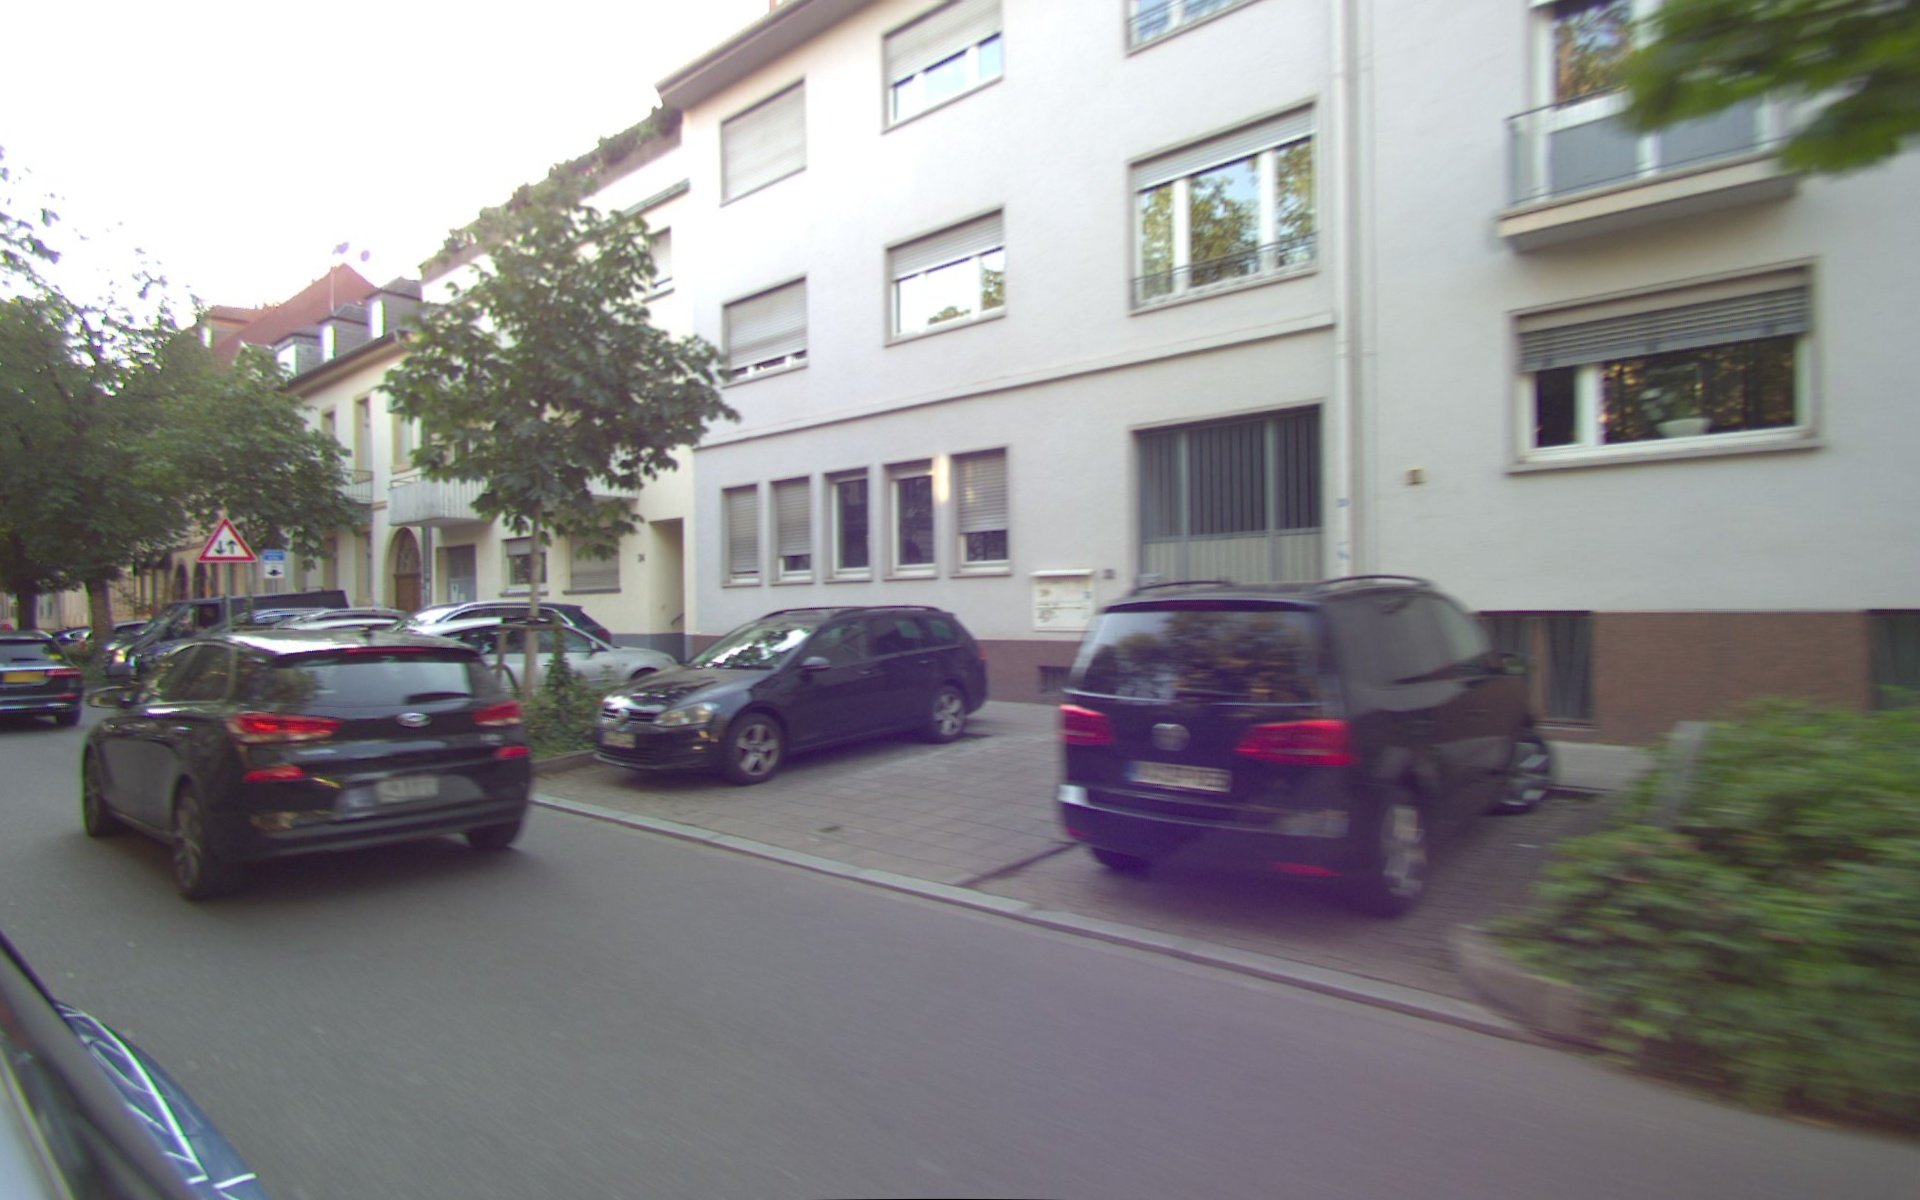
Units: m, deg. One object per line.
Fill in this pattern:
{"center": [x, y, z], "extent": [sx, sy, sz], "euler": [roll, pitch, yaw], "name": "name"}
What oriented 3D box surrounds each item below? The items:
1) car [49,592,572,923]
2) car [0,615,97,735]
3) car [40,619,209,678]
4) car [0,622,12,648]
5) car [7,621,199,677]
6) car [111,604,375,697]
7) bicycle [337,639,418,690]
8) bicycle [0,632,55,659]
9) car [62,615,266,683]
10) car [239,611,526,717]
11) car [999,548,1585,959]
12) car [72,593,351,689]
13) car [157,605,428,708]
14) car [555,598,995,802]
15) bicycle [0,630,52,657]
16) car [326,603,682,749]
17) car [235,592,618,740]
{"center": [-4.601, 0.809, 6.903], "extent": [4.272, 1.561, 1.857], "euler": [-2, -2, 41], "name": "car"}
{"center": [-14.950, 1.087, 15.510], "extent": [4.642, 1.653, 1.858], "euler": [-2, -2, 40], "name": "car"}
{"center": [-25.002, 1.406, 30.376], "extent": [1.658, 1.460, 3.647], "euler": [-2, 1, 40], "name": "car"}
{"center": [-56.105, 2.097, 57.209], "extent": [1.671, 1.416, 3.455], "euler": [-2, 1, 38], "name": "car"}
{"center": [-27.095, 1.482, 32.131], "extent": [1.715, 1.417, 4.384], "euler": [0, 2, 37], "name": "car"}
{"center": [-15.486, 1.010, 22.050], "extent": [1.929, 1.584, 4.310], "euler": [-1, 2, 40], "name": "car"}
{"center": [-11.013, 1.192, 19.121], "extent": [1.812, 0.880, 0.739], "euler": [-2, 0, 40], "name": "bicycle"}
{"center": [-43.097, 2.092, 46.761], "extent": [0.508, 1.107, 1.848], "euler": [-1, 1, 34], "name": "bicycle"}
{"center": [-22.792, 1.347, 29.109], "extent": [1.771, 1.550, 4.310], "euler": [0, 2, 40], "name": "car"}
{"center": [-9.675, 1.000, 17.161], "extent": [1.853, 1.462, 3.806], "euler": [-3, -1, 40], "name": "car"}
{"center": [2.290, 0.607, 6.224], "extent": [1.935, 1.644, 4.050], "euler": [-3, -1, 42], "name": "car"}
{"center": [-17.511, 0.879, 23.887], "extent": [2.188, 2.006, 4.940], "euler": [-2, -1, 40], "name": "car"}
{"center": [-13.167, 1.024, 20.158], "extent": [1.822, 1.603, 4.113], "euler": [-1, 2, 40], "name": "car"}
{"center": [-1.633, 0.799, 10.015], "extent": [1.754, 1.451, 4.032], "euler": [-2, 1, 42], "name": "car"}
{"center": [-42.693, 1.988, 46.142], "extent": [0.479, 1.107, 1.848], "euler": [-1, 1, 34], "name": "bicycle"}
{"center": [-6.019, 0.895, 13.678], "extent": [1.781, 1.505, 3.984], "euler": [-2, 1, 44], "name": "car"}
{"center": [-7.842, 0.840, 15.254], "extent": [2.155, 1.778, 4.619], "euler": [-2, 0, 40], "name": "car"}
